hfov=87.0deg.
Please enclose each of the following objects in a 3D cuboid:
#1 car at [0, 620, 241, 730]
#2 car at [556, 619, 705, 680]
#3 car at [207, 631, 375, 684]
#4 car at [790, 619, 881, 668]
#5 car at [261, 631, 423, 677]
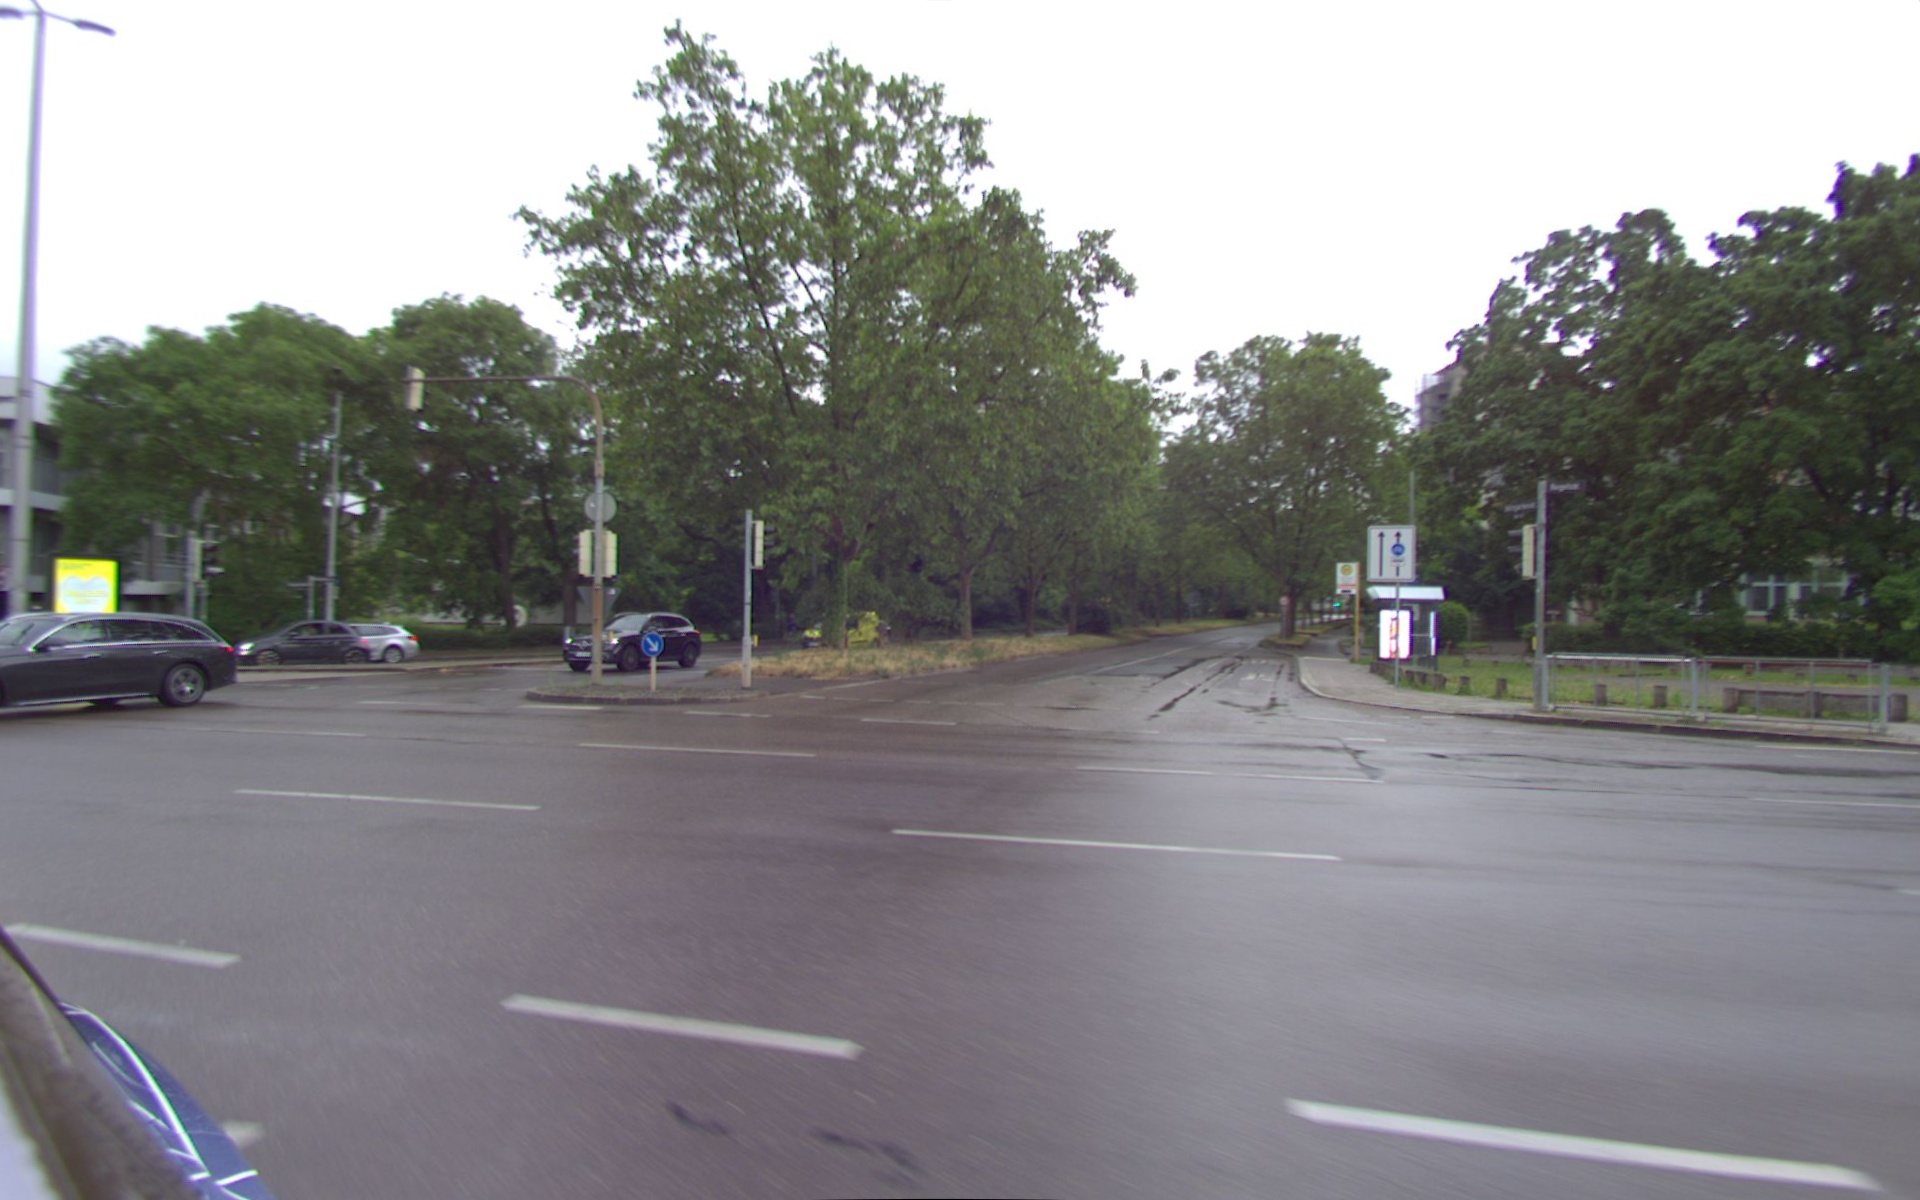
[{"bbox_3d":[-13.399,1.027,14.584,1.868,1.456,4.907,0,-2,14],"label":"car"},{"bbox_3d":[-9.344,1.410,29.133,1.819,1.620,4.551,-2,-3,17],"label":"car"},{"bbox_3d":[-20.213,1.689,30.669,1.869,1.461,3.941,-2,-3,45],"label":"car"},{"bbox_3d":[-5.104,1.800,42.282,1.871,1.891,4.710,-2,-3,19],"label":"car"},{"bbox_3d":[-21.019,1.807,34.557,1.866,1.461,4.345,-2,-3,39],"label":"car"}]
